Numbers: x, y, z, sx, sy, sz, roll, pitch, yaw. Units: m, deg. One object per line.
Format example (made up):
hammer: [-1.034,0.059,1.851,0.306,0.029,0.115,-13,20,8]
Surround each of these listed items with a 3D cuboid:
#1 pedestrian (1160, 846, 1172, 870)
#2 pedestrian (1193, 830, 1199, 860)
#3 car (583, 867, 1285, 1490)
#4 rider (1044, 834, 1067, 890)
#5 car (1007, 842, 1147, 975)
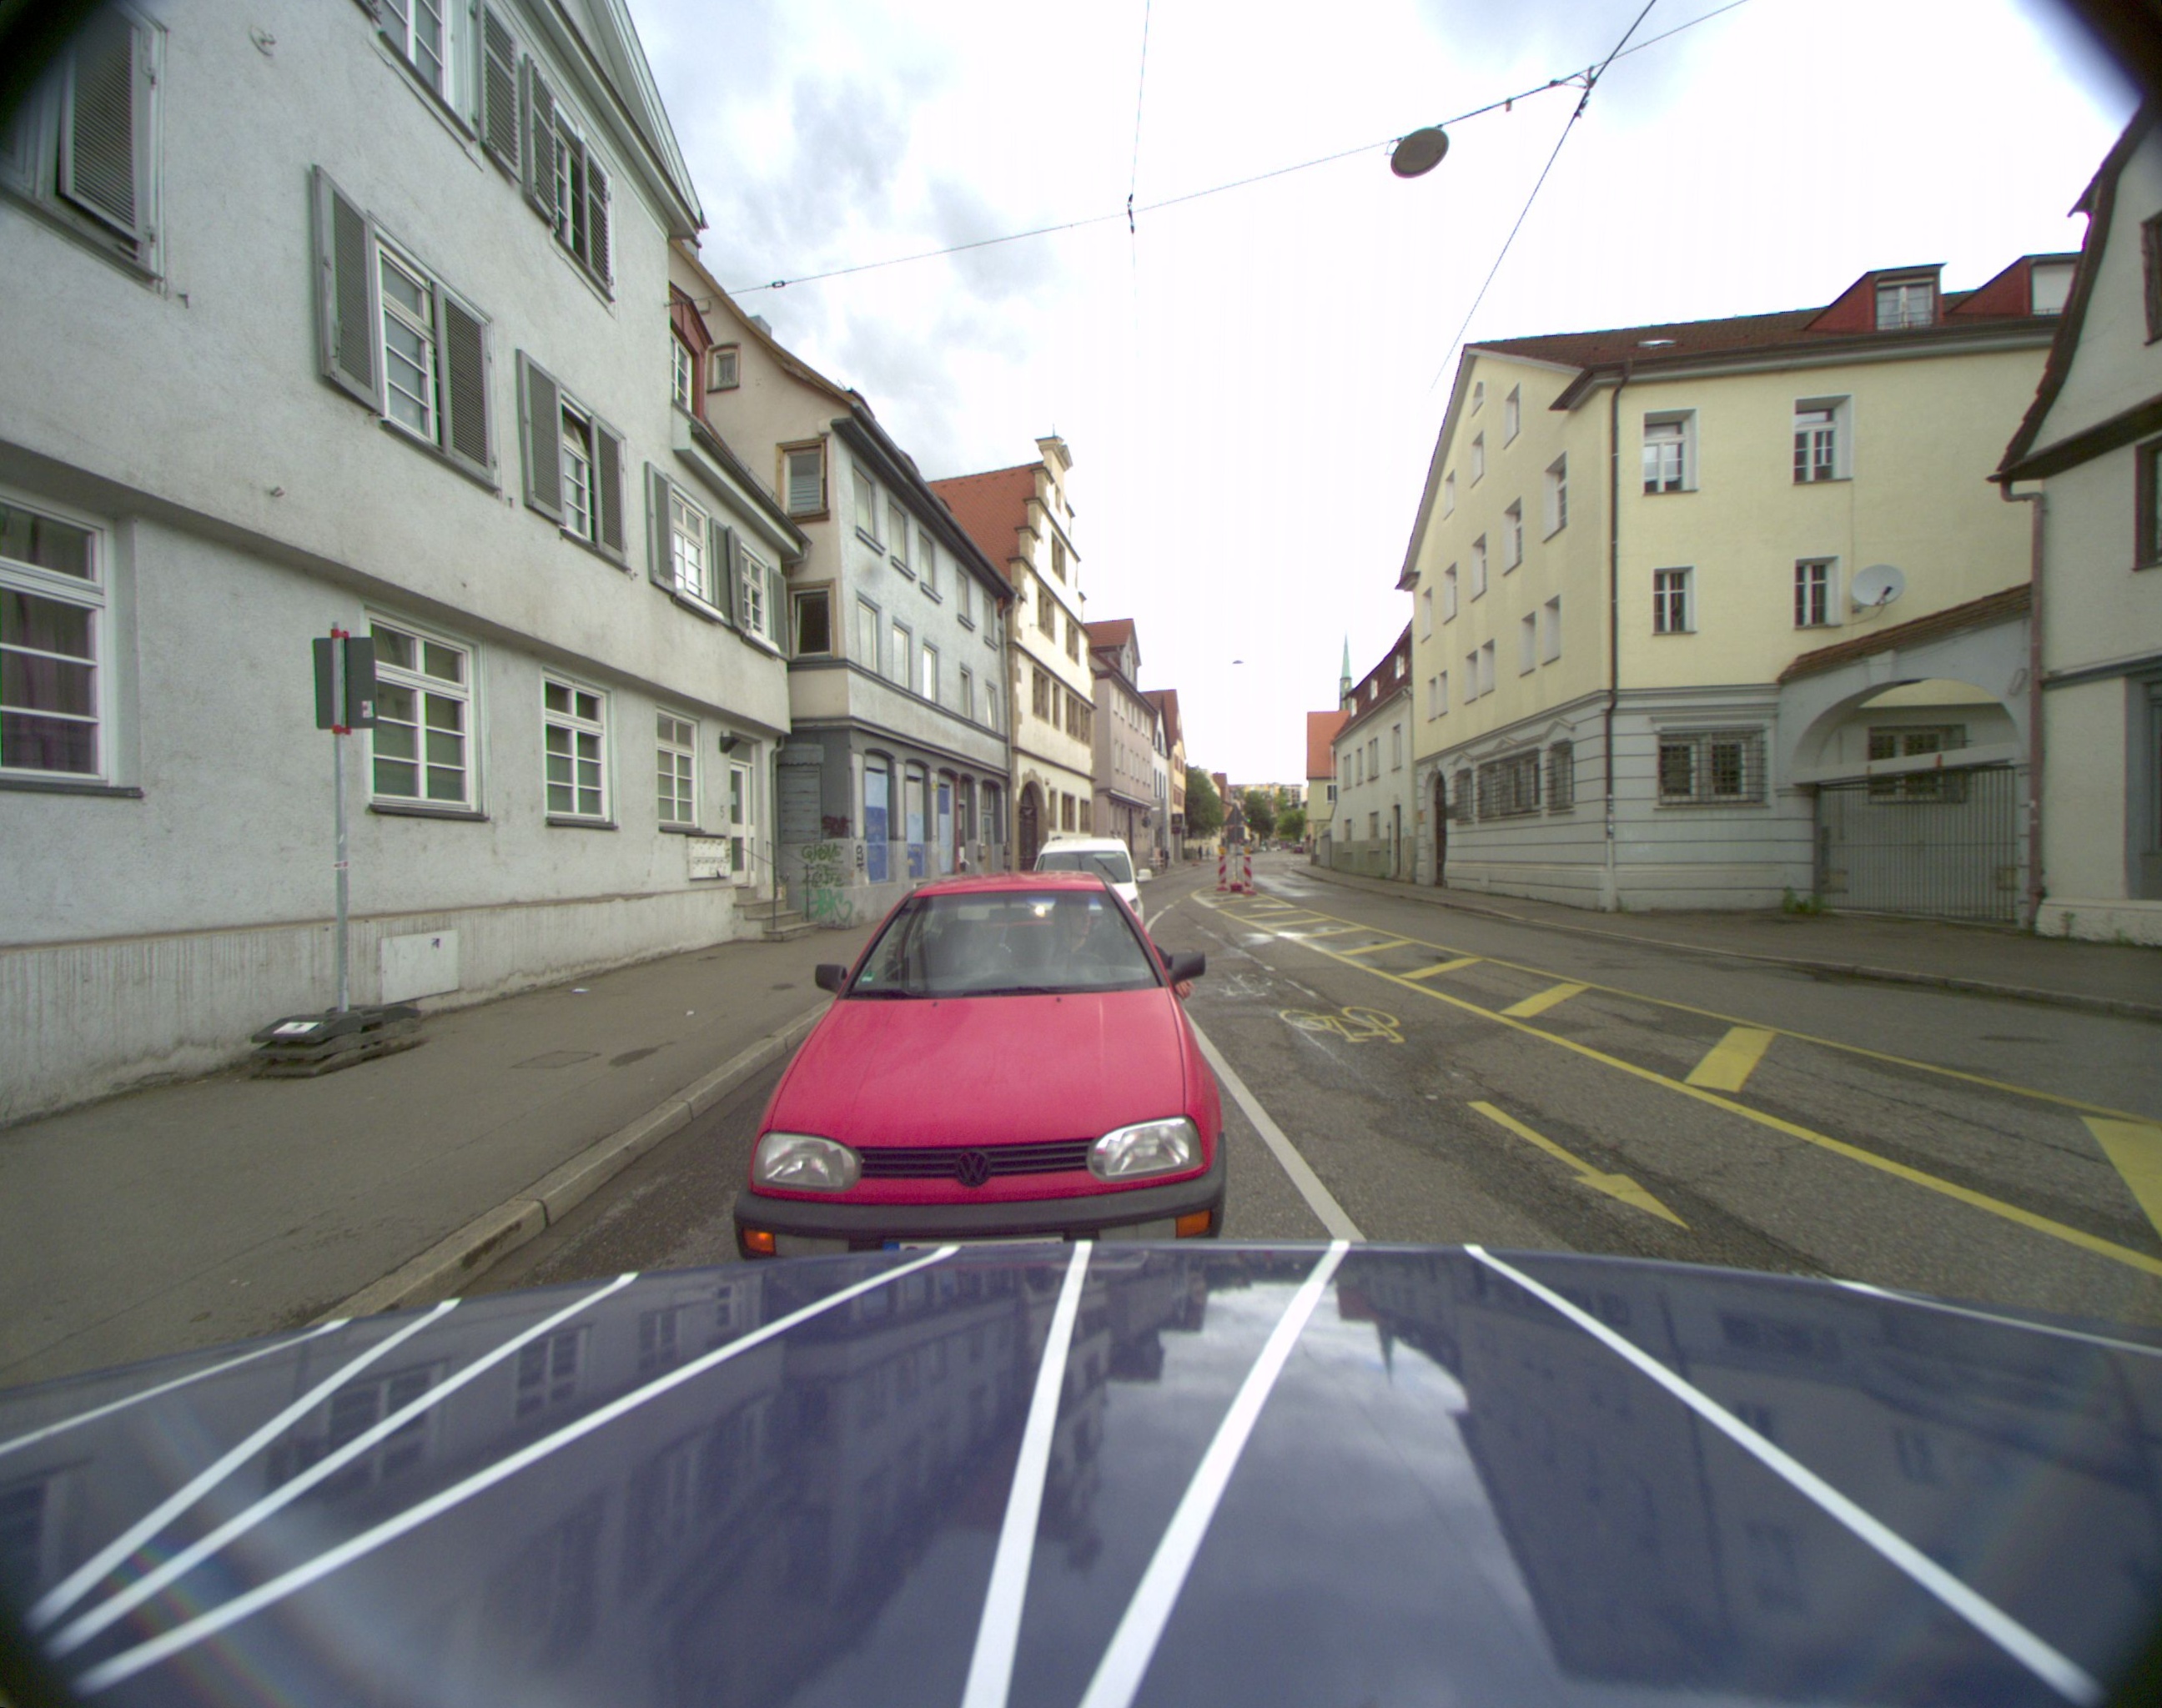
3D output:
pedestrian: [5.721,0.265,51.006,0.725,1.604,0.649,-1,0,12]
pedestrian: [9.642,-0.721,63.675,0.495,2.513,0.746,-1,1,12]
car: [-0.285,0.896,3.971,1.792,1.418,3.999,-2,2,3]
rider: [-0.842,0.268,25.679,0.719,1.837,0.797,-1,1,1]
car: [0.036,0.693,12.162,1.814,1.695,4.256,-1,1,2]
